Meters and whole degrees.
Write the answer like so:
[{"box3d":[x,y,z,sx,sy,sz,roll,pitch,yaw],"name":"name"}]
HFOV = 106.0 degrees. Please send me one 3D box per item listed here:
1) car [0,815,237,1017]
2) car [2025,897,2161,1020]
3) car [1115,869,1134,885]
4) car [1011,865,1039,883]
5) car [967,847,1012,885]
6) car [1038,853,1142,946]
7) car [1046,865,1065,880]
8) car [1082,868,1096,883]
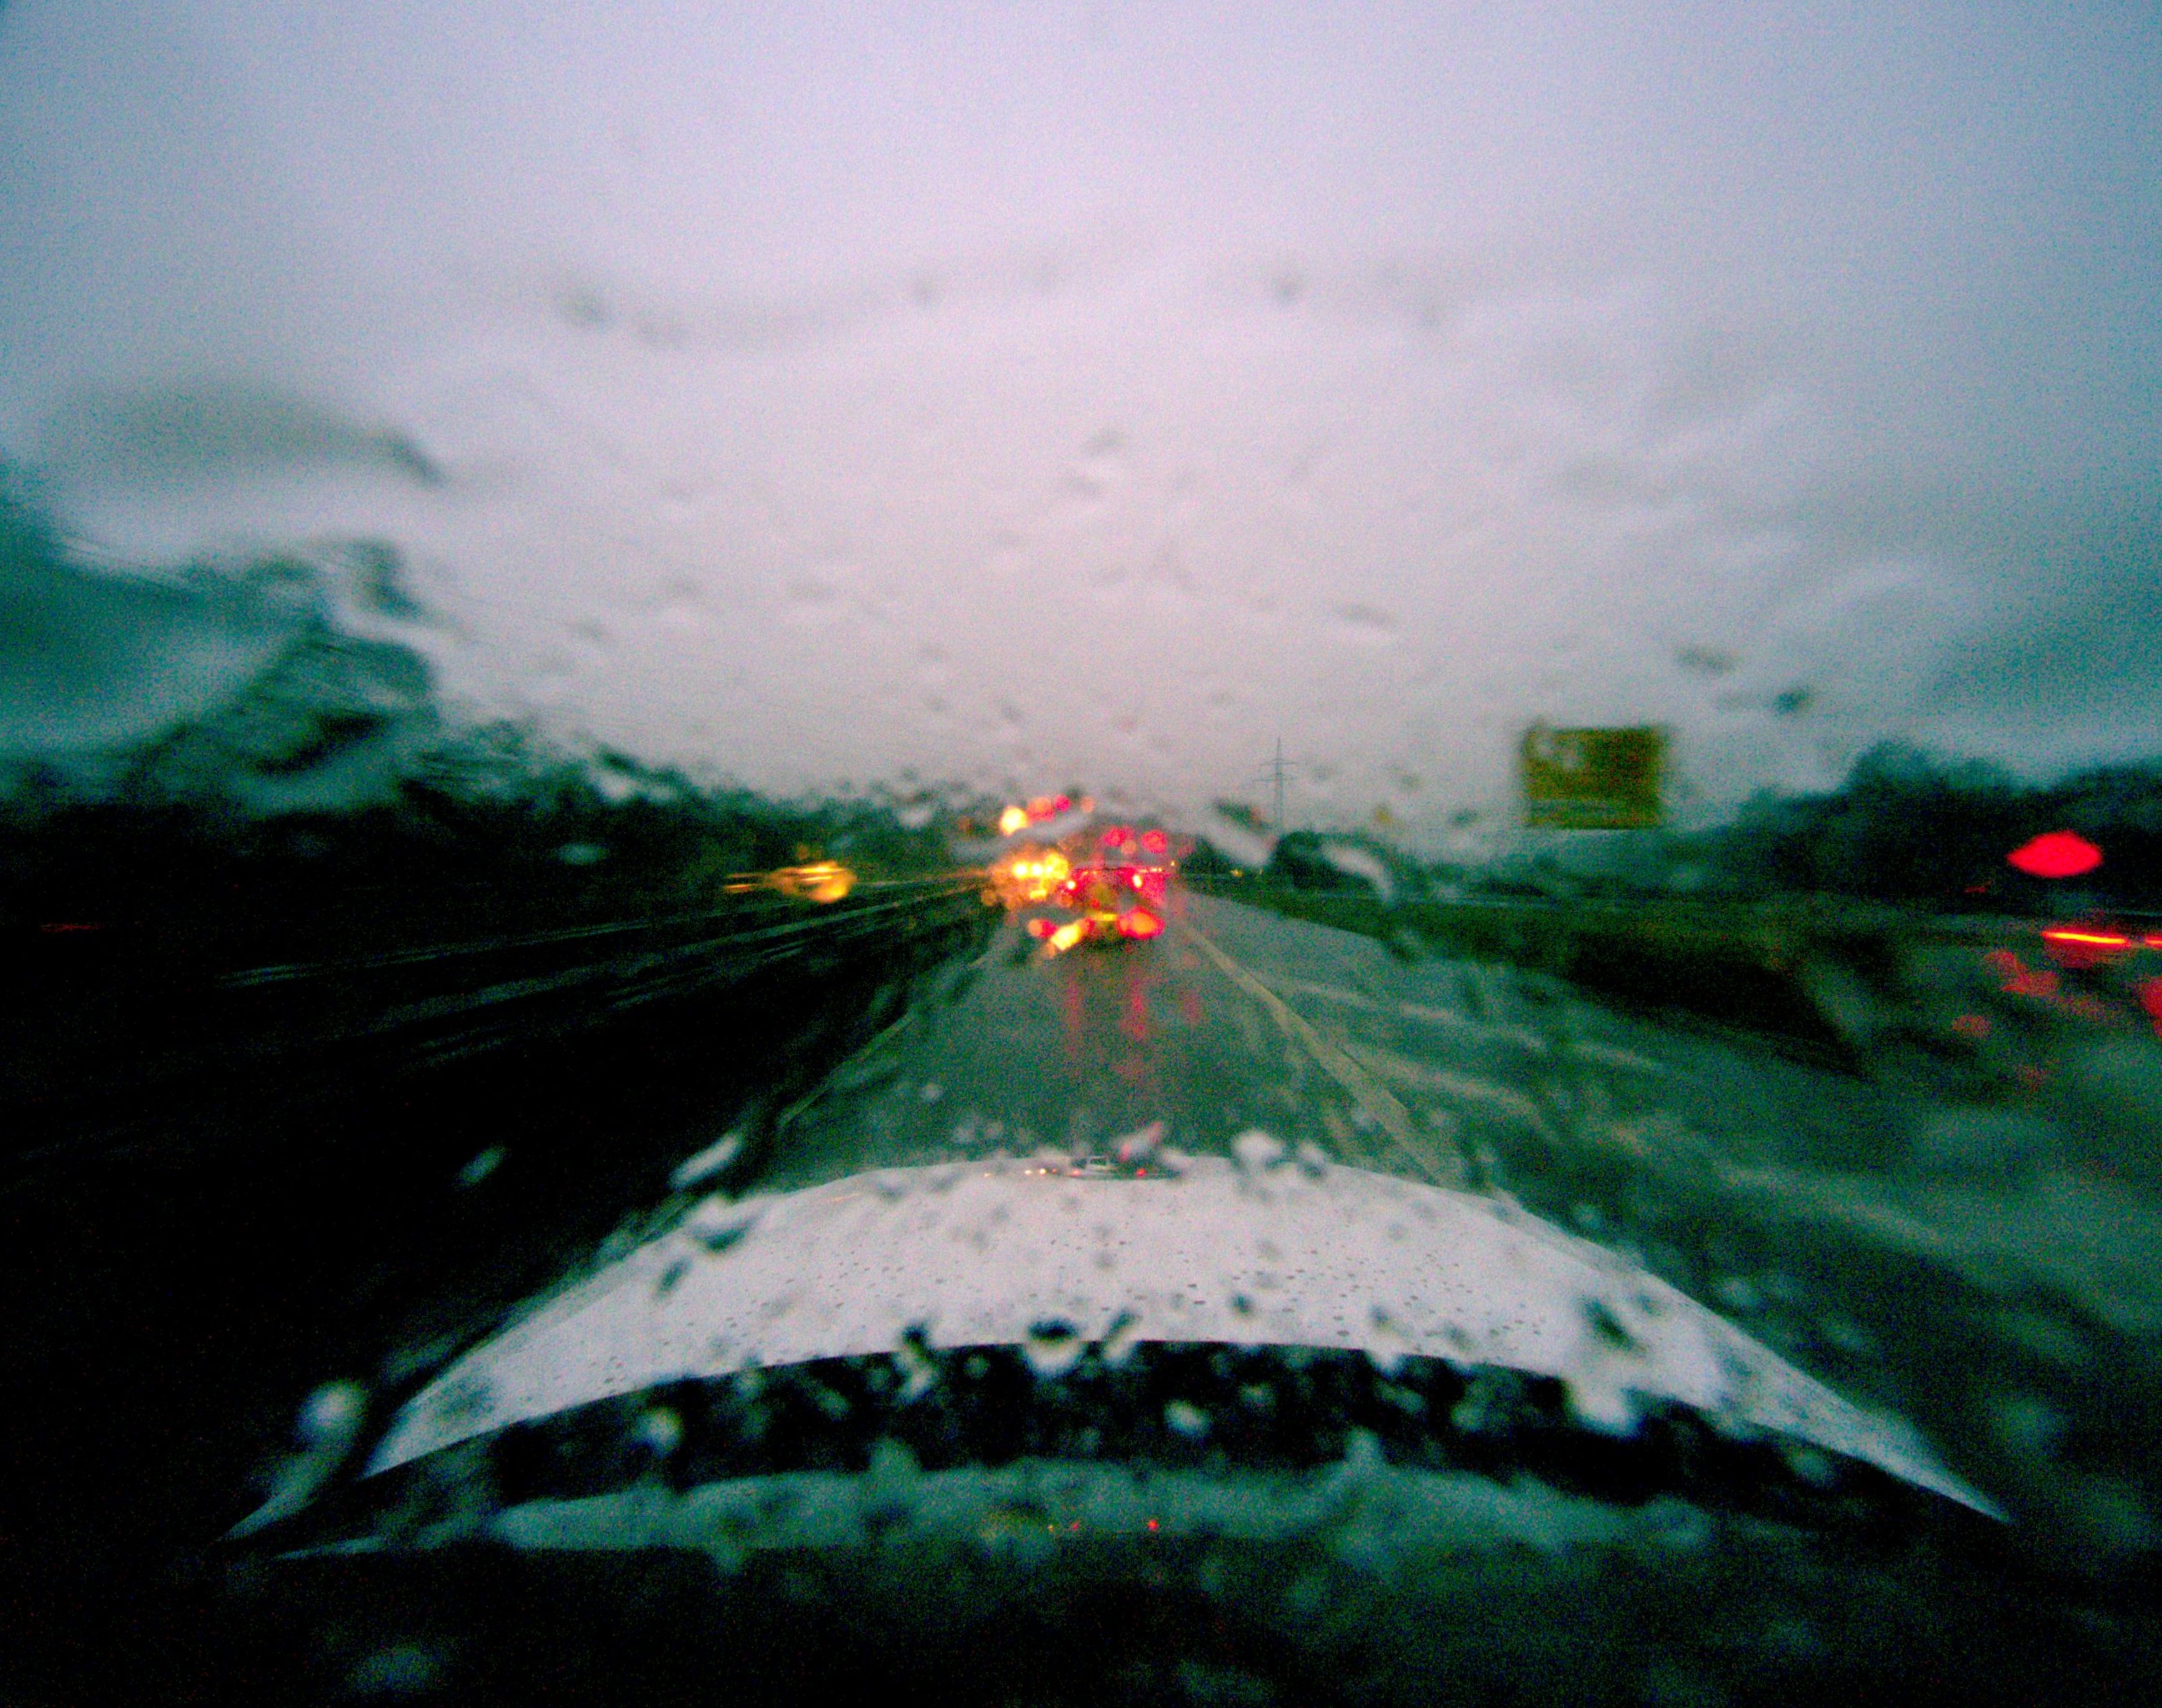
[{"box3d":[-9.594,0.513,5.963,2.086,1.593,4.479,-1,1,0],"name":"car"},{"box3d":[19.668,1.860,15.607,4.932,1.935,1.977,2,0,-40],"name":"car"},{"box3d":[5.118,2.696,95.318,1.935,1.745,4.007,2,-2,7],"name":"car"},{"box3d":[-4.750,1.692,69.912,1.987,1.472,4.473,-1,-1,1],"name":"car"},{"box3d":[-5.087,0.710,45.803,1.987,2.014,4.997,0,-2,-1],"name":"car"},{"box3d":[0.259,0.809,15.888,1.723,1.533,4.045,-2,-1,3],"name":"car"},{"box3d":[-2.703,1.955,86.651,1.640,1.501,4.003,-1,-1,3],"name":"car"},{"box3d":[1.279,3.257,124.291,1.863,2.137,5.185,-1,-1,4],"name":"car"}]
